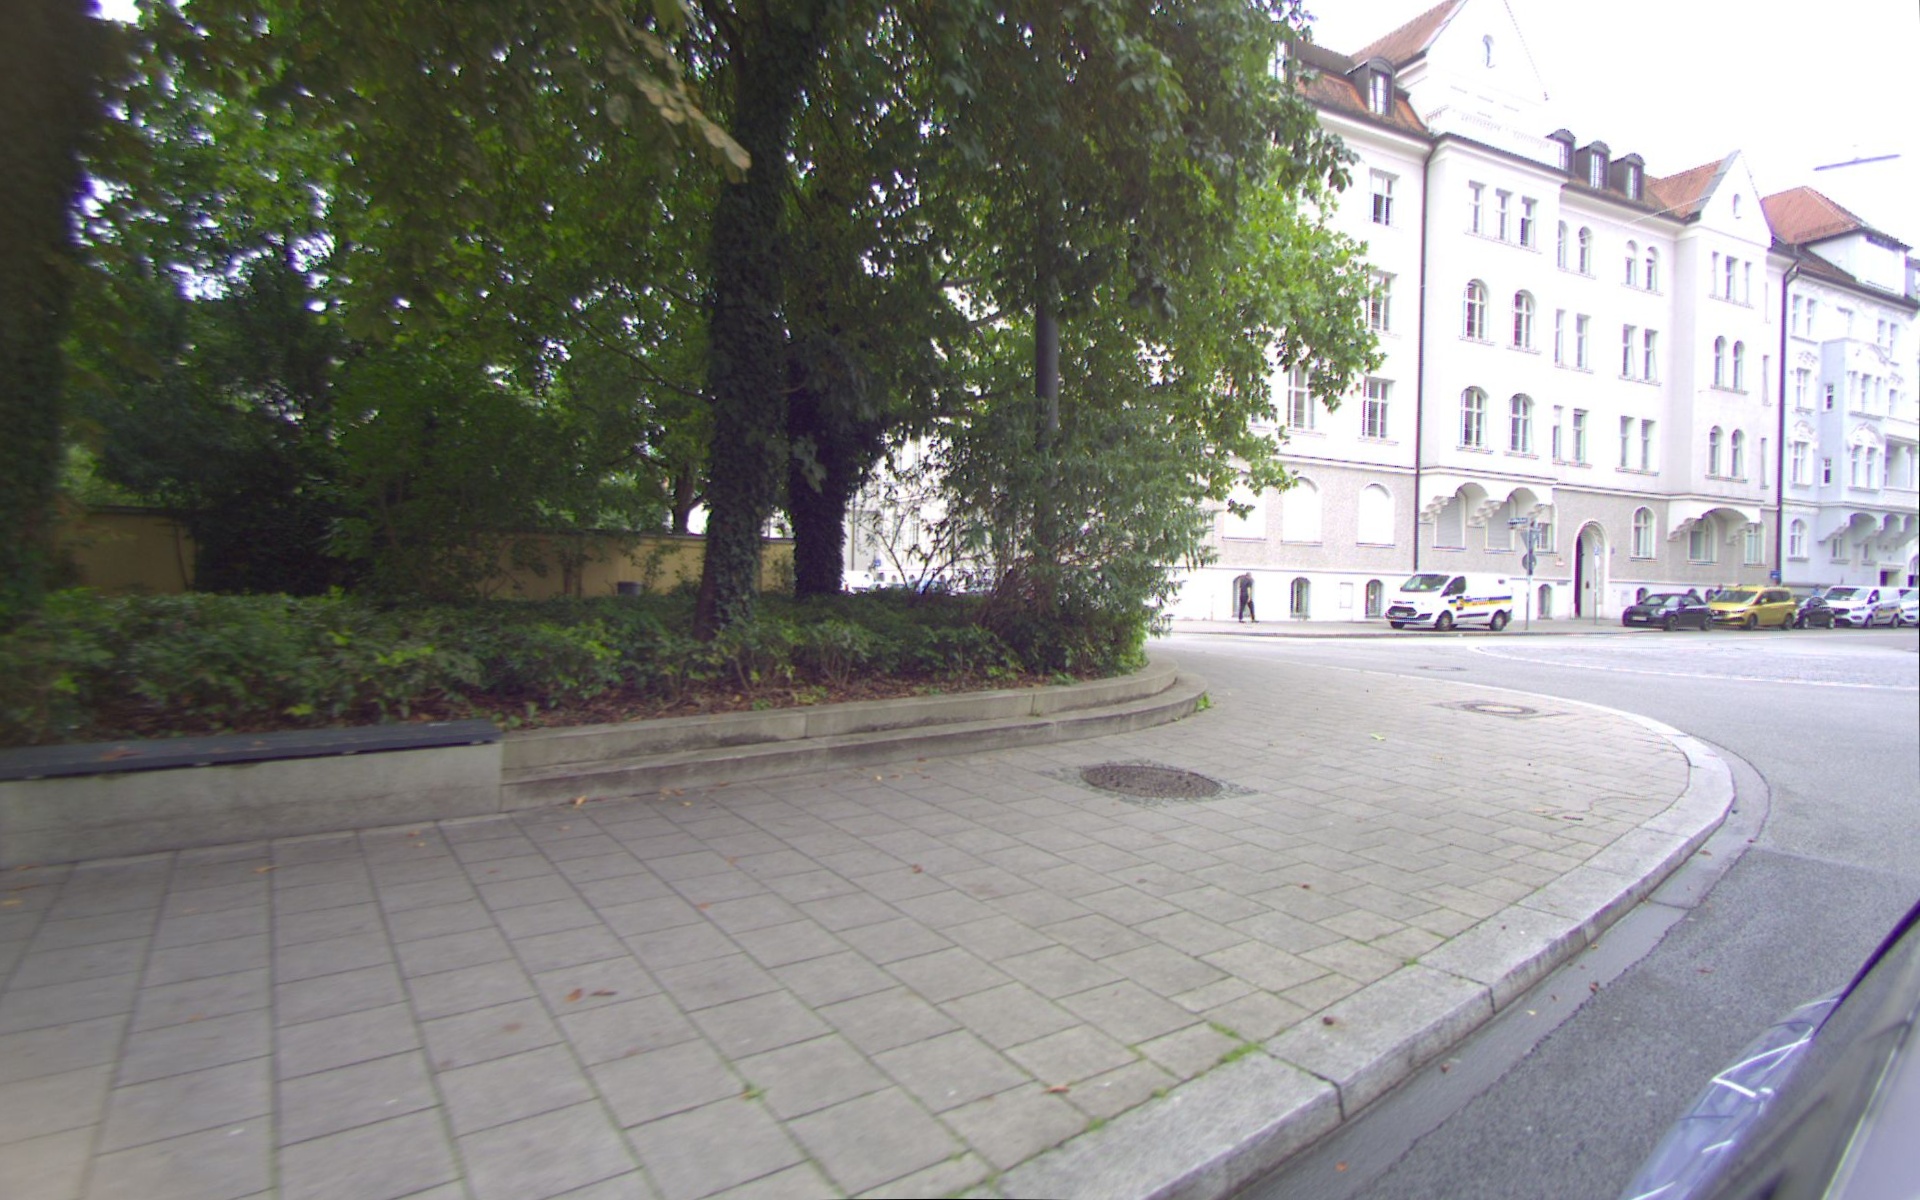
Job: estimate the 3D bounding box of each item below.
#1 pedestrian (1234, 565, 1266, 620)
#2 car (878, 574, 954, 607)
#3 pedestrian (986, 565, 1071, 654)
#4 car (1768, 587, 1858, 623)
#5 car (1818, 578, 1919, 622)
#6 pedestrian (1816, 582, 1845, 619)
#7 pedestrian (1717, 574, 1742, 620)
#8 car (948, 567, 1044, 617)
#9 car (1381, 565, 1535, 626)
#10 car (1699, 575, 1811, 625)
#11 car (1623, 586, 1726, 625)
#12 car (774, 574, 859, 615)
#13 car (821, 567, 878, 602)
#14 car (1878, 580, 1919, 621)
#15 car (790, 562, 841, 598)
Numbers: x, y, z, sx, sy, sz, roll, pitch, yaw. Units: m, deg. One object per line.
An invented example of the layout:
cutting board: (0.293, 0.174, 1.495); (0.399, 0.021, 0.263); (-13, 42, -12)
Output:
pedestrian: (9.826, -0.273, 34.277); (0.919, 1.823, 0.992); (1, 1, 23)
car: (-2.087, -0.477, 46.880); (1.854, 1.422, 4.257); (0, 2, -28)
pedestrian: (1.096, 0.142, 16.275); (1.108, 1.373, 0.773); (1, 1, -26)
car: (37.564, 0.205, 44.570); (3.805, 1.533, 1.641); (0, 1, -27)
car: (42.426, -0.007, 47.192); (4.786, 1.942, 2.003); (0, 1, -28)
pedestrian: (45.718, 0.021, 53.150); (0.730, 1.926, 0.856); (1, 1, -24)
pedestrian: (34.235, -0.132, 45.032); (0.712, 2.039, 0.586); (1, 1, -25)
car: (1.332, -0.356, 39.446); (1.854, 1.818, 4.257); (0, 1, -28)
car: (17.013, -0.155, 34.506); (5.265, 1.945, 1.948); (0, 2, -28)
car: (32.953, -0.015, 41.942); (4.478, 1.942, 2.003); (0, 1, -28)
car: (27.983, 0.202, 39.631); (3.749, 1.463, 1.721); (0, 1, -27)
car: (-5.277, -0.225, 36.774); (1.764, 1.385, 4.473); (0, 1, -26)
car: (-6.057, -0.874, 55.233); (1.761, 1.805, 3.846); (0, 1, -28)
car: (47.804, 0.017, 50.160); (4.780, 1.942, 2.003); (0, 1, -30)
car: (-8.739, -1.218, 61.027); (1.782, 2.060, 4.041); (0, 1, -28)
